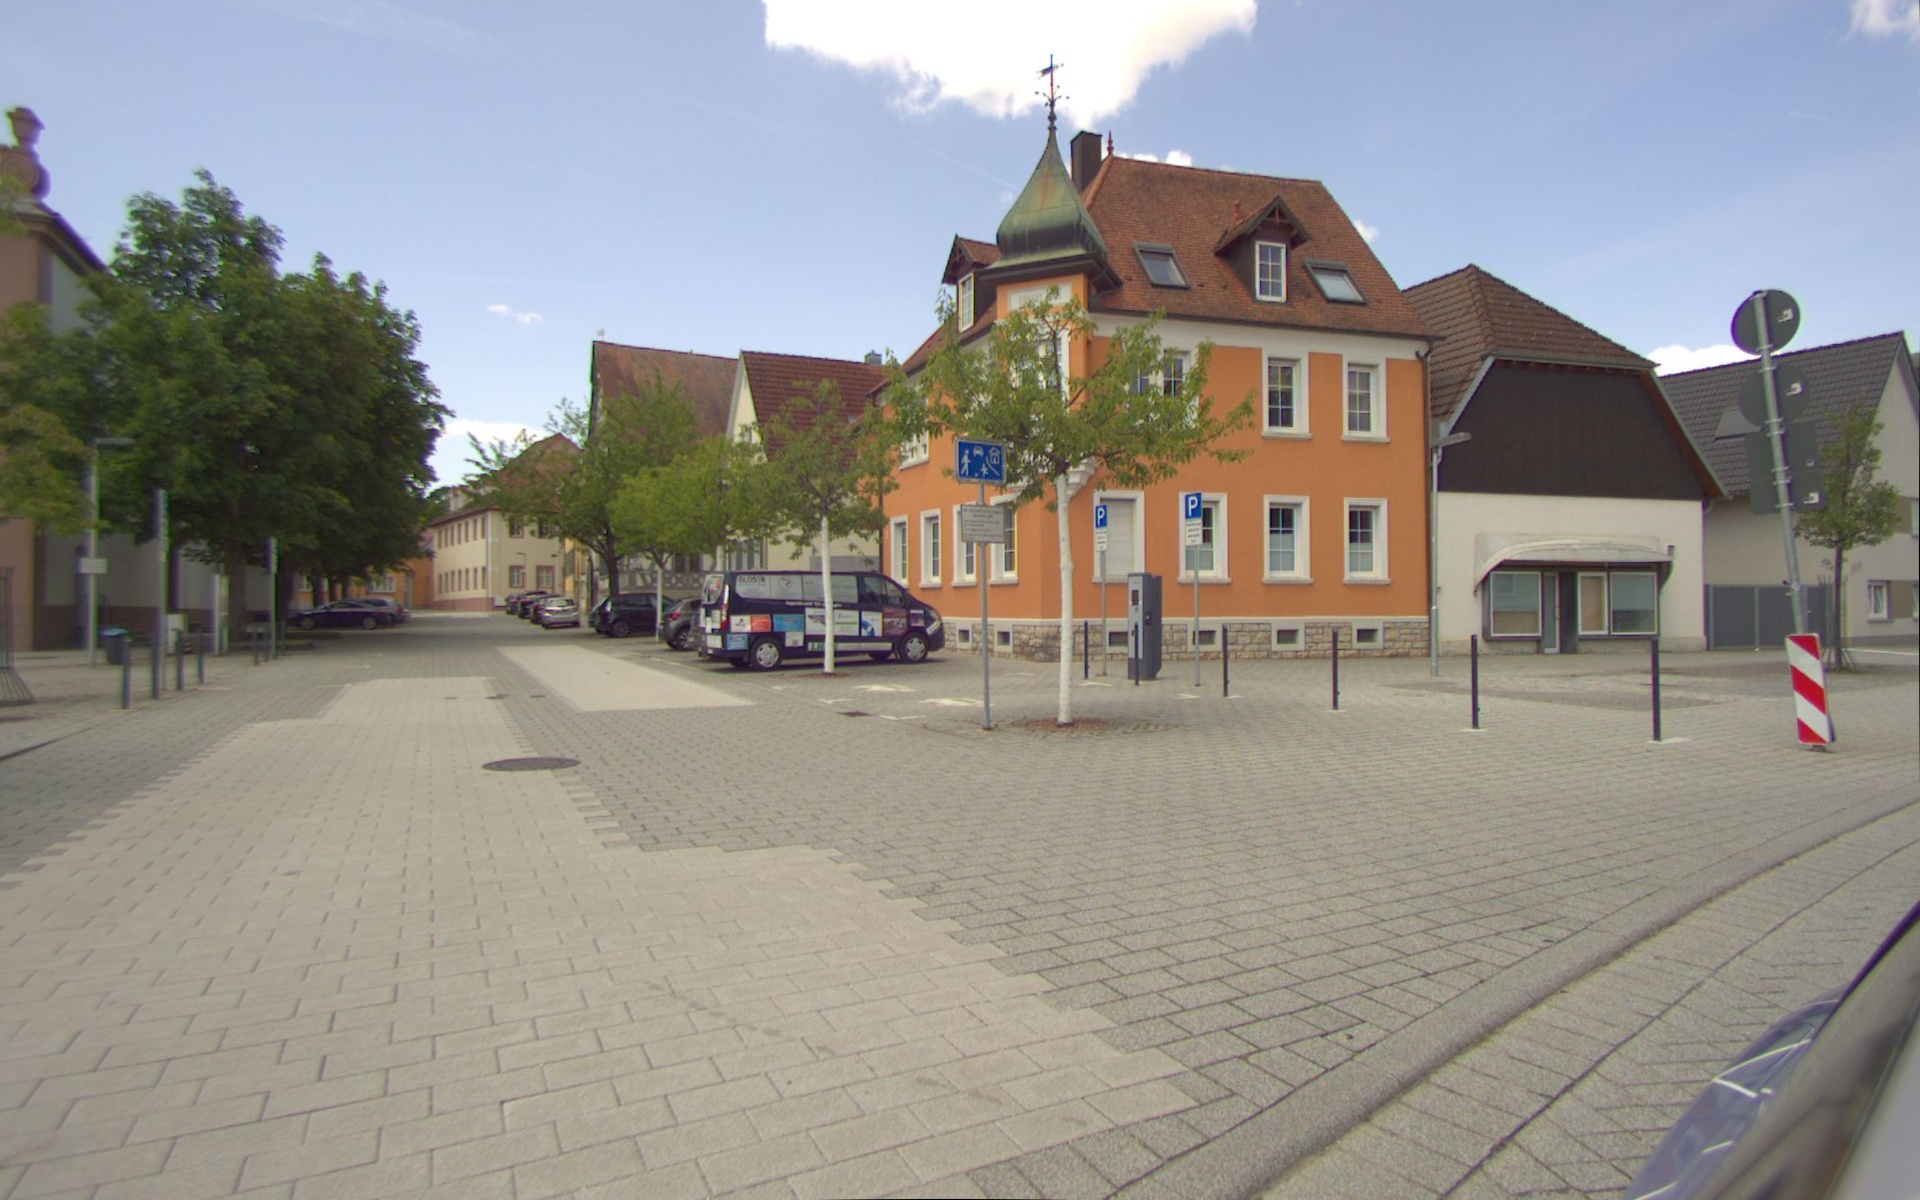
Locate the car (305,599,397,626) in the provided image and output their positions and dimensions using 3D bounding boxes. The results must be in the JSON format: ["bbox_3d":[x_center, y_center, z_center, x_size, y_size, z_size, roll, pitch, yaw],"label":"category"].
[{"bbox_3d":[-29.705,0.590,49.484,3.776,1.245,1.732,0,-1,-30],"label":"car"}]

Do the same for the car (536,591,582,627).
[{"bbox_3d":[-20.384,0.448,51.330,1.958,1.693,5.504,0,-1,-24],"label":"car"}]

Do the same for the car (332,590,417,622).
[{"bbox_3d":[-31.585,0.291,54.668,3.920,1.679,2.002,0,0,-30],"label":"car"}]

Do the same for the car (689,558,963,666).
[{"bbox_3d":[-2.775,0.232,21.325,5.383,2.039,2.002,0,-1,-29],"label":"car"}]

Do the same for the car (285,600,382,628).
[{"bbox_3d":[-28.966,0.637,46.924,3.776,1.245,1.732,0,-1,-30],"label":"car"}]

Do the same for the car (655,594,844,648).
[{"bbox_3d":[-6.102,0.572,29.425,5.021,1.460,2.002,0,-1,-29],"label":"car"}]

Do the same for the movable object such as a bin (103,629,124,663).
[{"bbox_3d":[-18.498,1.002,22.119,0.359,0.708,0.293,0,-1,-41],"label":"movable object such as a bin"}]

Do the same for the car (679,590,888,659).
[{"bbox_3d":[-4.148,0.537,24.039,4.627,1.503,1.626,0,-1,-29],"label":"car"}]

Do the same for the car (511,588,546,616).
[{"bbox_3d":[-27.409,0.123,64.203,1.958,1.693,5.504,0,-1,-24],"label":"car"}]

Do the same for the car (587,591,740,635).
[{"bbox_3d":[-11.418,0.479,39.052,5.383,1.592,2.002,0,-1,-29],"label":"car"}]

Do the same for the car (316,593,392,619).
[{"bbox_3d":[-37.104,0.366,62.064,3.920,1.523,2.002,0,0,-30],"label":"car"}]
